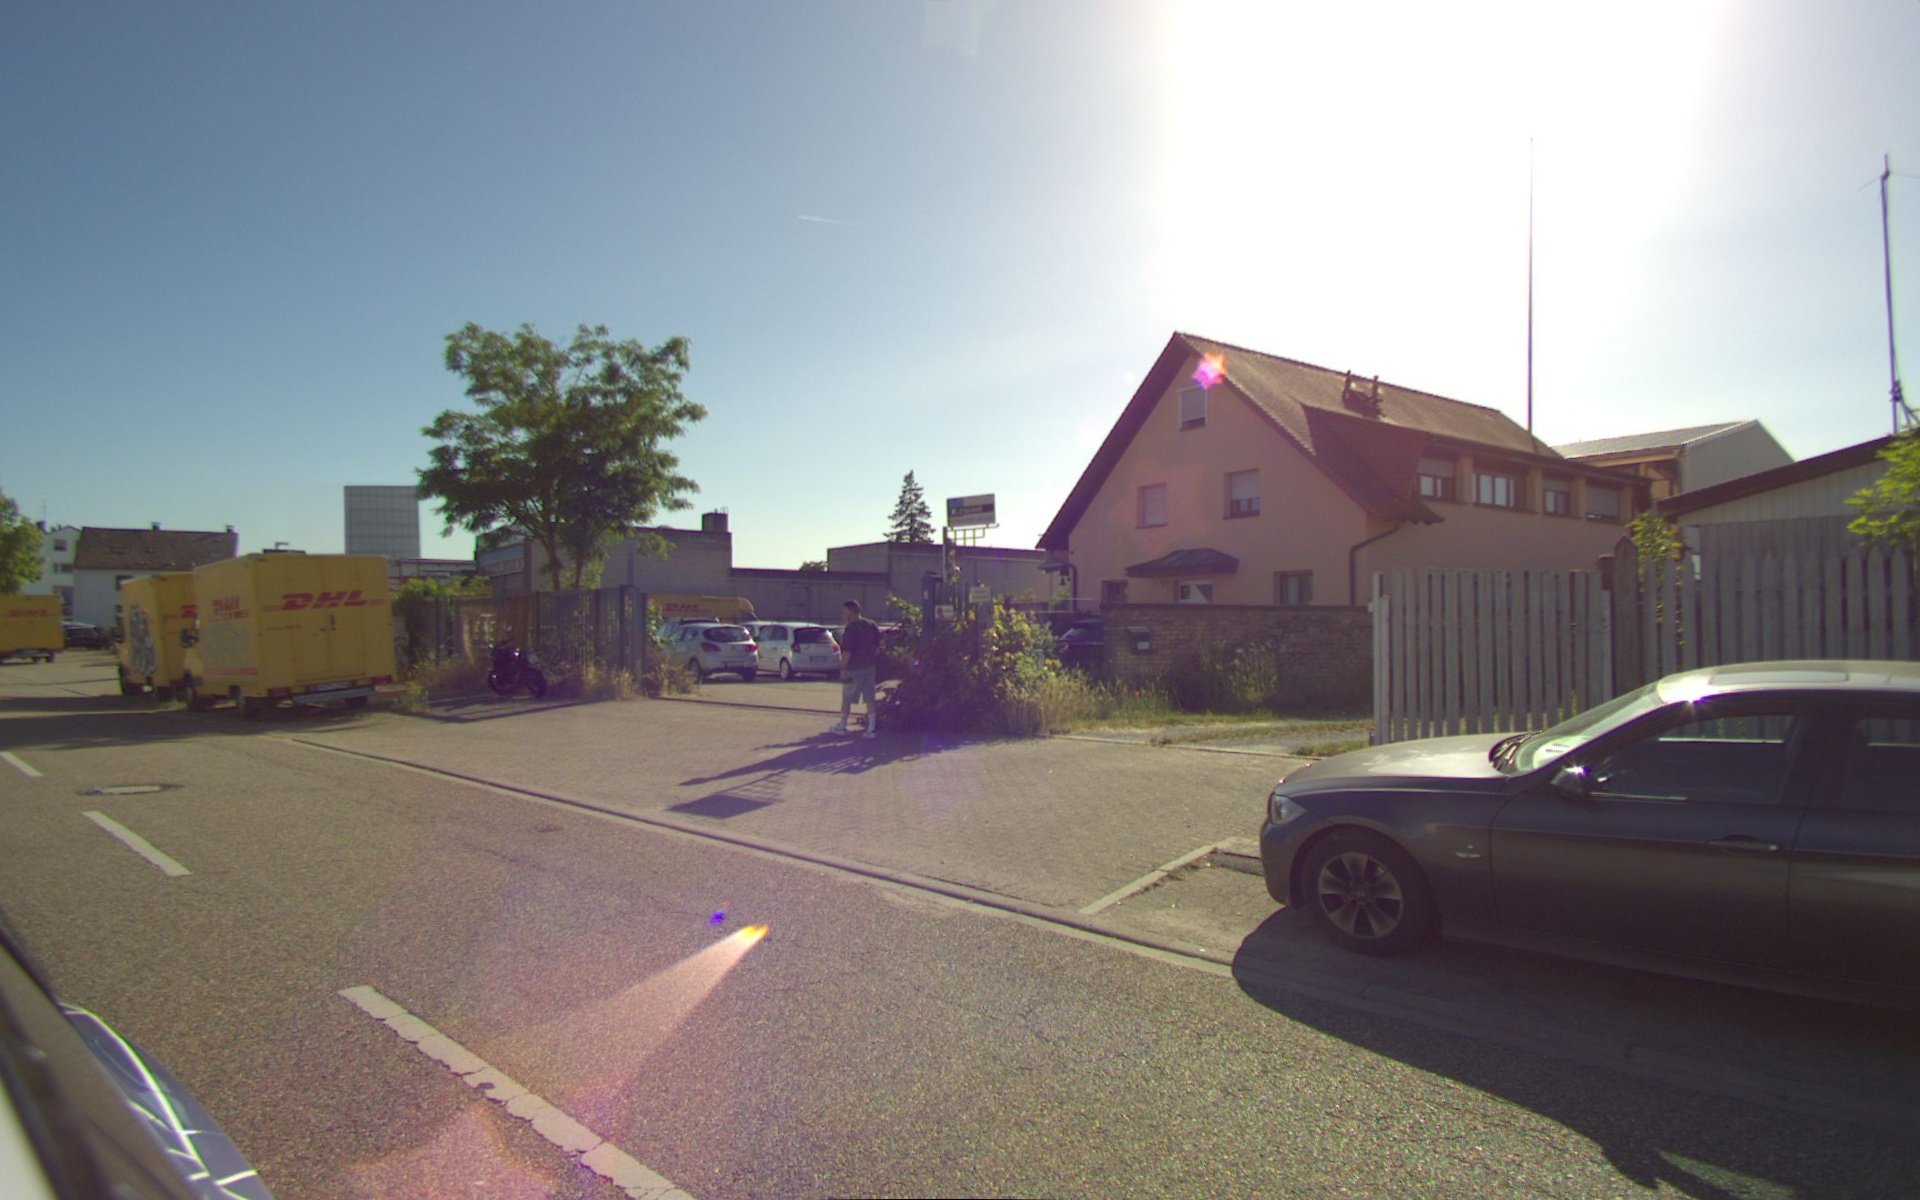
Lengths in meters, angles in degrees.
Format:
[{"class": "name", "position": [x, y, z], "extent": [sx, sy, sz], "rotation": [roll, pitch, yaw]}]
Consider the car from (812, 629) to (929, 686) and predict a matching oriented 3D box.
[{"class": "car", "position": [-2.710, 1.650, 29.907], "extent": [1.623, 1.542, 4.009], "rotation": [2, -3, -35]}]

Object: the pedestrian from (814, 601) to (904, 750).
[{"class": "pedestrian", "position": [-1.251, 0.907, 12.610], "extent": [0.749, 1.756, 0.811], "rotation": [-1, 0, 34]}]

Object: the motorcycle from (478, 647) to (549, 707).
[{"class": "motorcycle", "position": [-8.816, 1.491, 19.940], "extent": [2.070, 1.065, 0.530], "rotation": [-2, 0, 44]}]

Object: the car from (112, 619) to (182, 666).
[{"class": "car", "position": [-38.335, 1.960, 47.702], "extent": [3.999, 2.029, 1.972], "rotation": [-1, 0, 42]}]

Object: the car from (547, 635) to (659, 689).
[{"class": "car", "position": [-10.872, 1.852, 30.685], "extent": [1.825, 1.454, 4.006], "rotation": [4, -3, -41]}]

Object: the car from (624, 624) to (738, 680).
[{"class": "car", "position": [-9.009, 1.648, 32.464], "extent": [1.947, 1.652, 4.006], "rotation": [4, -3, -41]}]

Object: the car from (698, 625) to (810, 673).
[{"class": "car", "position": [-7.009, 1.631, 34.226], "extent": [1.947, 1.454, 4.006], "rotation": [4, -3, -41]}]

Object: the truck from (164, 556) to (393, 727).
[{"class": "truck", "position": [-12.847, 0.686, 18.900], "extent": [5.747, 2.734, 2.145], "rotation": [-1, 0, 41]}]

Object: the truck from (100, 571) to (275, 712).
[{"class": "truck", "position": [-17.978, 0.879, 23.416], "extent": [5.747, 2.895, 2.117], "rotation": [-1, 0, 41]}]

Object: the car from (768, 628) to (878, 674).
[{"class": "car", "position": [-4.855, 1.768, 35.499], "extent": [1.947, 1.454, 4.006], "rotation": [4, -3, -41]}]

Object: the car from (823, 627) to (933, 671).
[{"class": "car", "position": [-3.024, 1.744, 36.671], "extent": [1.947, 1.454, 4.006], "rotation": [4, -3, -41]}]

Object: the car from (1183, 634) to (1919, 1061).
[{"class": "car", "position": [3.663, 0.924, 4.608], "extent": [4.920, 1.459, 1.757], "rotation": [-2, 0, 41]}]

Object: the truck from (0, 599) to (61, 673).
[{"class": "truck", "position": [-41.131, 1.503, 44.063], "extent": [5.908, 3.052, 2.257], "rotation": [-1, 0, 41]}]

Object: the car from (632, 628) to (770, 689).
[{"class": "car", "position": [-6.941, 1.523, 26.909], "extent": [1.947, 1.454, 4.006], "rotation": [4, -3, -41]}]

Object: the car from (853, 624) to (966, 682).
[{"class": "car", "position": [-1.651, 1.612, 31.729], "extent": [1.623, 1.698, 4.009], "rotation": [2, -3, -35]}]

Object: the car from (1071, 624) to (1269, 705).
[{"class": "car", "position": [4.403, 1.304, 21.137], "extent": [3.931, 1.542, 1.656], "rotation": [1, -2, -30]}]

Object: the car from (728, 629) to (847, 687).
[{"class": "car", "position": [-4.941, 1.593, 28.665], "extent": [1.624, 1.542, 4.008], "rotation": [2, -3, -38]}]
